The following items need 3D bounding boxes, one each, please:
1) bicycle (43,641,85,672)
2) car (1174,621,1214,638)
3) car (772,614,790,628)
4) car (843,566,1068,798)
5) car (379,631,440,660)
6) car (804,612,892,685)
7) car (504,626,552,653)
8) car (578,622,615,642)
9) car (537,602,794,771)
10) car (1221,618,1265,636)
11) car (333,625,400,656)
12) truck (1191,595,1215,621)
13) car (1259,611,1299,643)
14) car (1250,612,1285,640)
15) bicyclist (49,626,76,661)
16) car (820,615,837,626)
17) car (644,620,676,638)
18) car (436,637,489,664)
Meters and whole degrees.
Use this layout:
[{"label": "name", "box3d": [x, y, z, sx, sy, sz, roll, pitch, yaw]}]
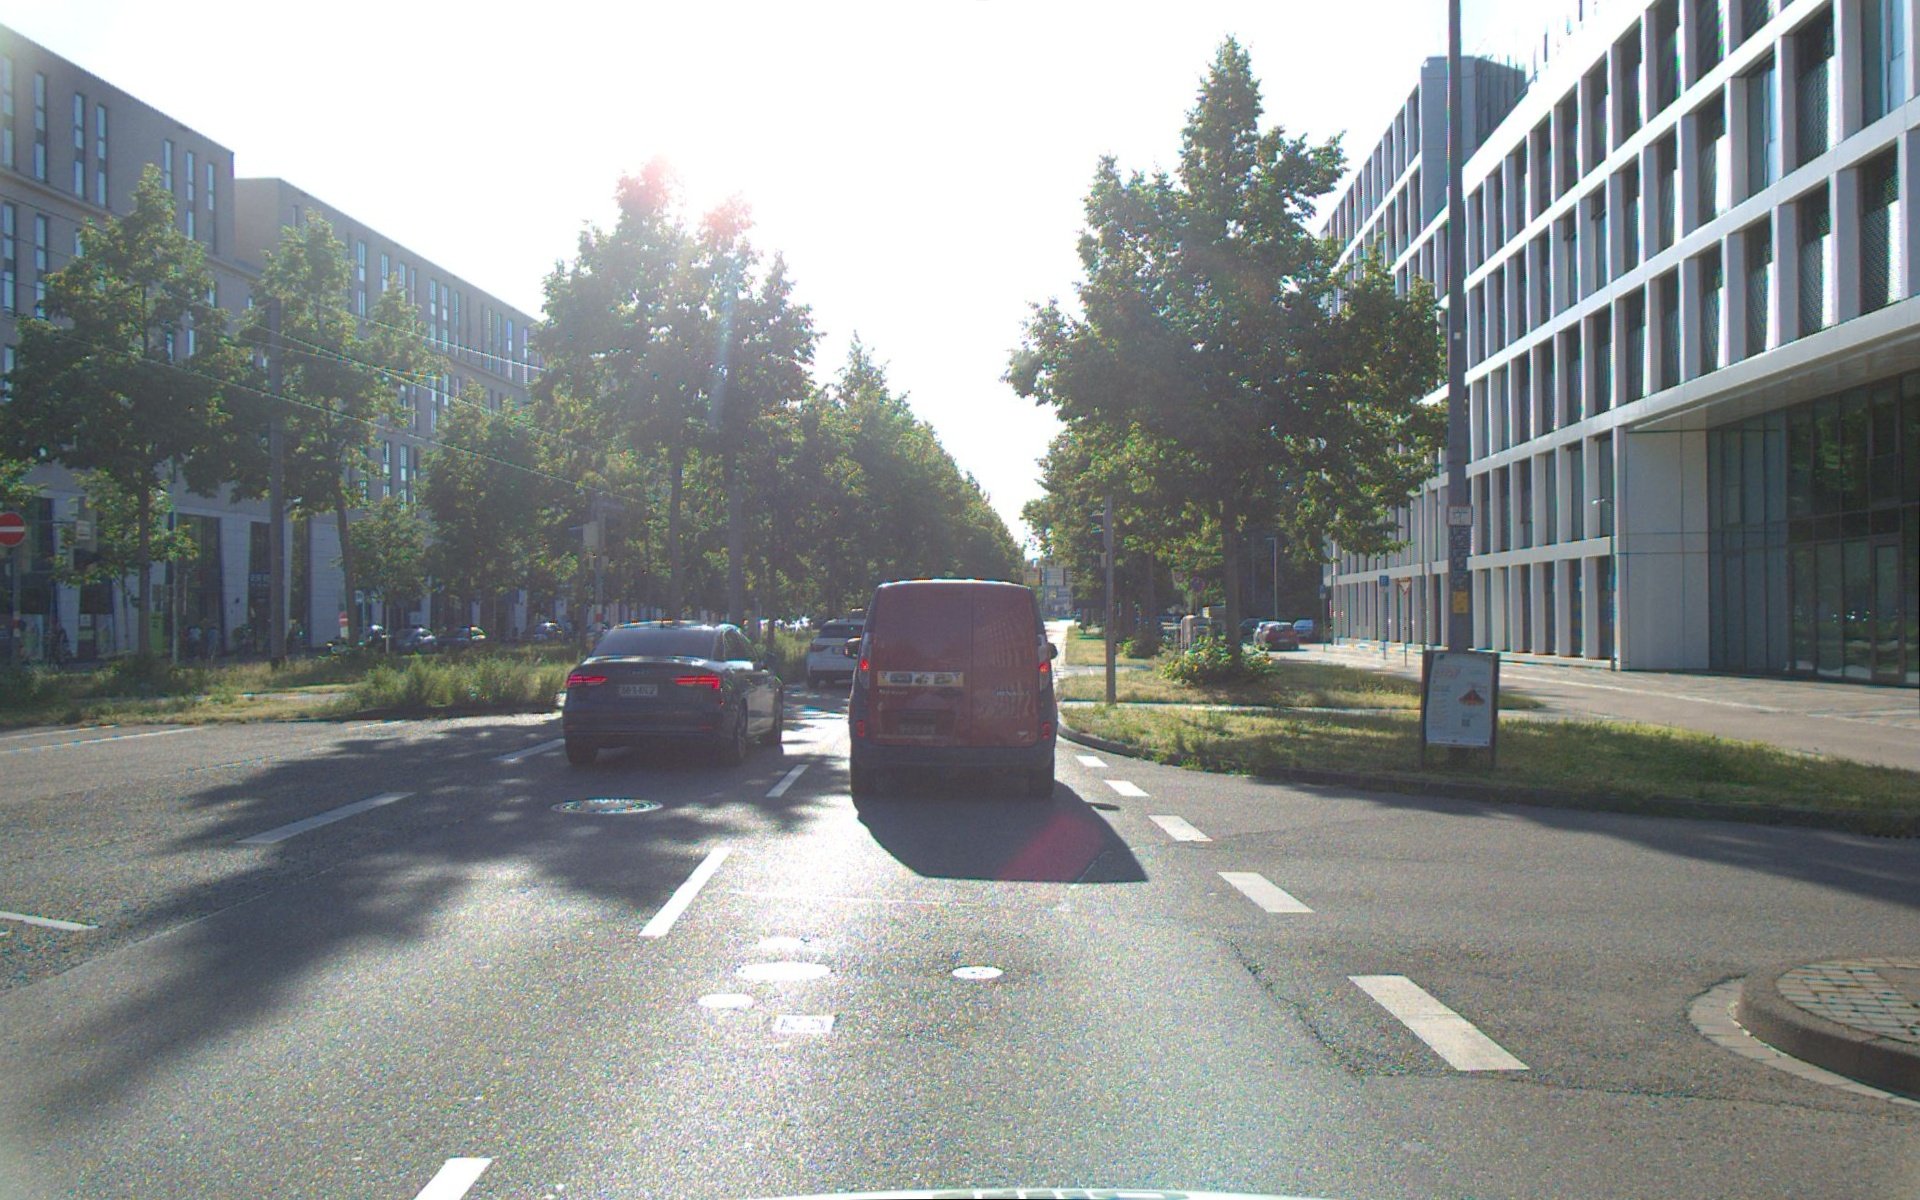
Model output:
[{"label": "bicycle", "box3d": [-33.858, 2.132, 62.531, 0.517, 1.130, 1.639, 0, -1, 9]}, {"label": "car", "box3d": [19.857, 2.533, 140.257, 3.326, 1.382, 1.472, -1, -1, 11]}, {"label": "car", "box3d": [-24.154, 2.790, 223.489, 1.696, 1.803, 4.002, -1, -1, 3]}, {"label": "car", "box3d": [-0.071, 0.703, 15.215, 1.771, 1.826, 4.111, -1, -2, -1]}, {"label": "car", "box3d": [-27.162, 2.226, 81.701, 1.547, 1.366, 3.713, -1, -1, 3]}, {"label": "car", "box3d": [-2.378, 1.012, 36.053, 1.772, 1.460, 4.111, -1, 0, -2]}, {"label": "car", "box3d": [-26.518, 2.406, 101.622, 1.739, 1.555, 3.807, -1, -1, 3]}, {"label": "car", "box3d": [-25.027, 2.194, 114.066, 1.547, 1.366, 3.713, -1, -1, 3]}, {"label": "car", "box3d": [-2.939, 0.810, 17.377, 1.770, 1.554, 4.114, -1, 0, 3]}, {"label": "car", "box3d": [21.925, 2.112, 128.200, 3.326, 1.382, 1.472, -1, -1, 11]}, {"label": "car", "box3d": [-27.217, 1.844, 75.920, 1.547, 1.366, 3.713, -1, -1, 3]}, {"label": "truck", "box3d": [23.515, 0.793, 160.147, 1.793, 2.545, 5.935, 0, -1, 3]}, {"label": "car", "box3d": [17.244, 1.438, 89.477, 1.721, 1.640, 3.905, 0, 0, 5]}, {"label": "car", "box3d": [17.539, 1.484, 94.391, 1.781, 1.559, 3.439, -1, -1, 7]}, {"label": "bicyclist", "box3d": [-33.866, 1.624, 62.441, 0.566, 1.316, 0.705, 0, -1, 8]}, {"label": "car", "box3d": [-18.316, 2.842, 230.180, 1.719, 1.601, 4.002, -1, -1, 3]}, {"label": "car", "box3d": [-22.926, 2.193, 126.428, 1.547, 1.366, 3.713, -1, -1, 3]}, {"label": "car", "box3d": [-26.655, 2.698, 88.718, 1.547, 1.366, 3.713, -1, -1, 3]}]
